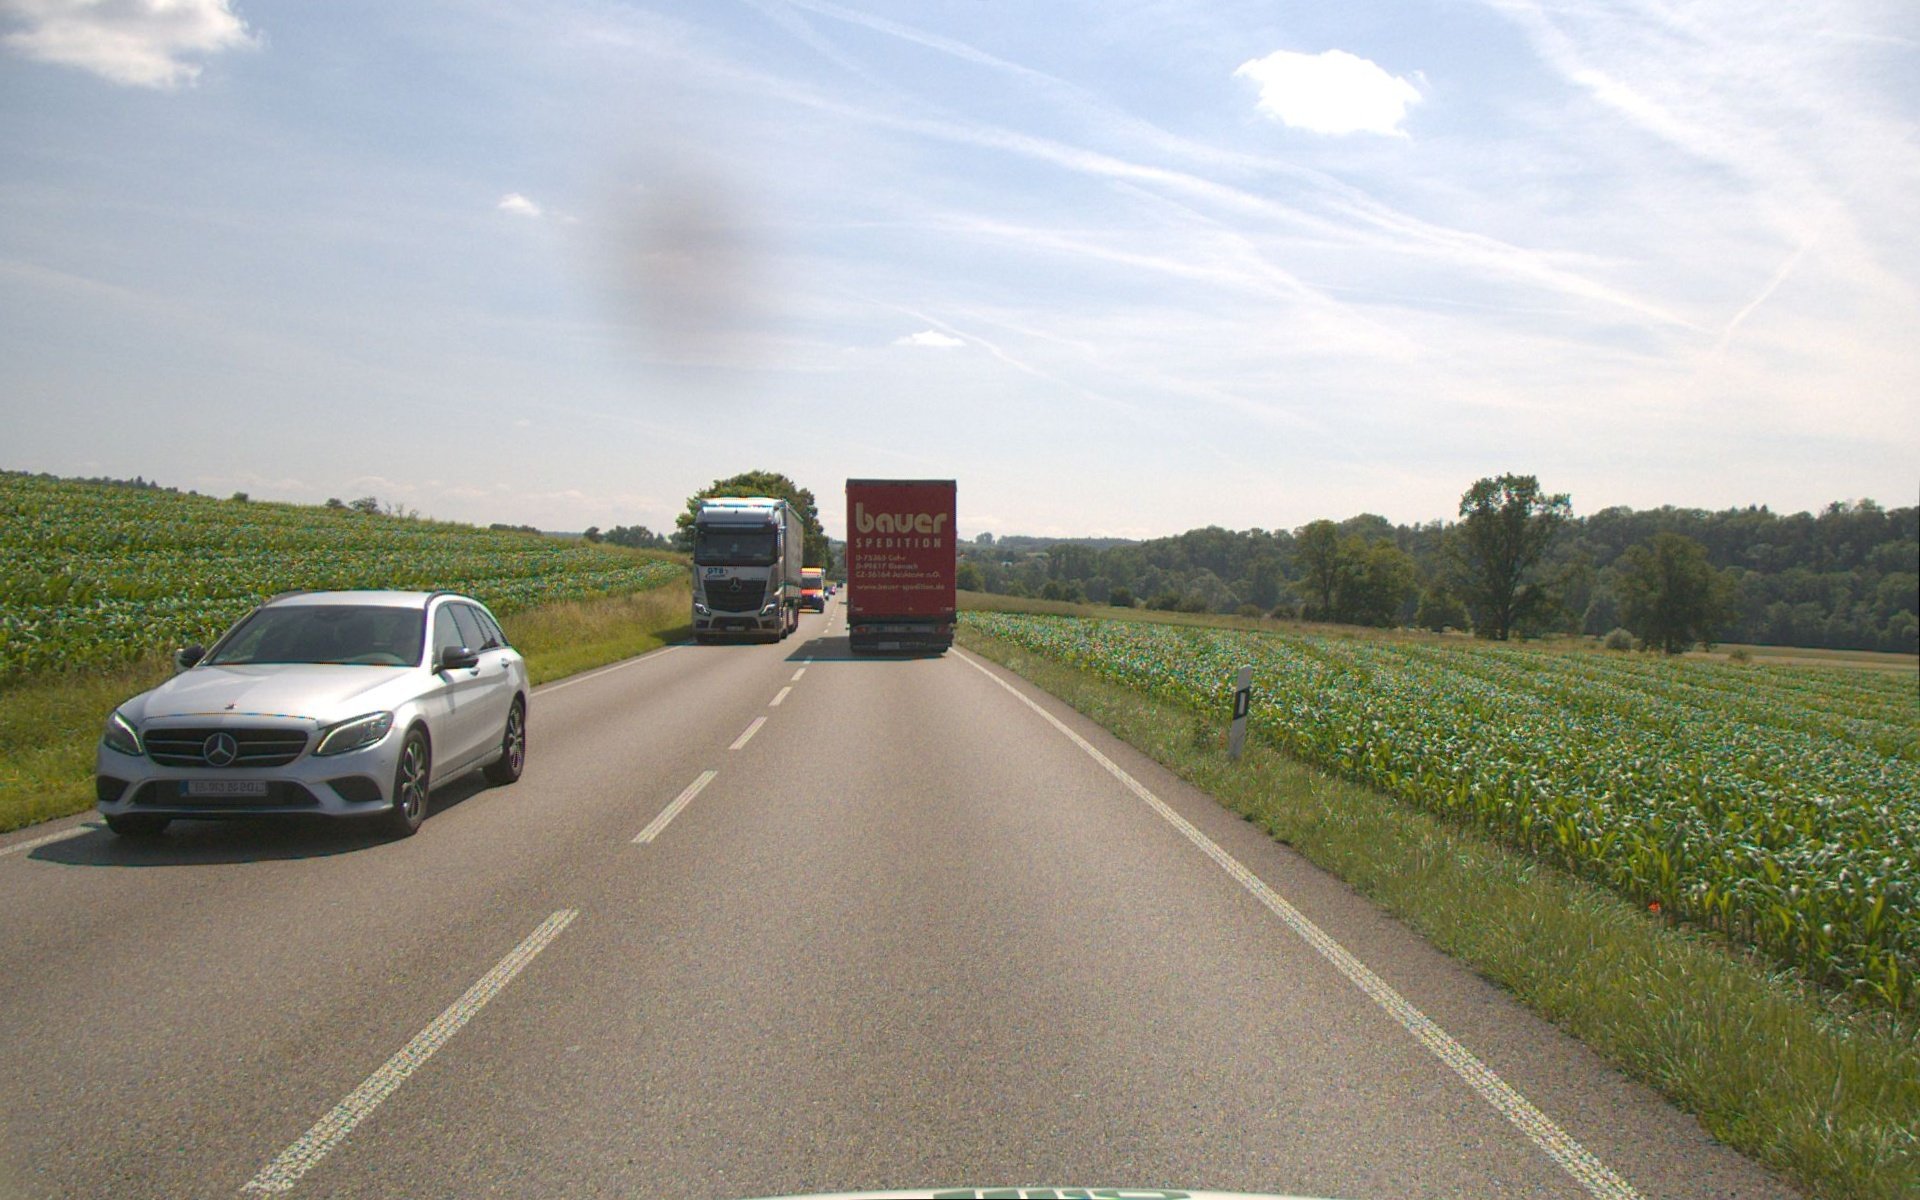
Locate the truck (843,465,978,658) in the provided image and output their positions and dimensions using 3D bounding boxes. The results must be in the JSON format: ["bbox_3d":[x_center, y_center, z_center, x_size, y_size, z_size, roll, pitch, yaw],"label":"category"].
[{"bbox_3d":[-1.286,-0.837,41.579,3.032,4.337,8.310,0,0,-2],"label":"truck"}]

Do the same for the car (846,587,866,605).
[{"bbox_3d":[-9.012,-0.339,143.342,1.549,1.527,3.876,1,0,-1],"label":"car"}]

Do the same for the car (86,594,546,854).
[{"bbox_3d":[-4.176,0.701,11.488,1.693,1.466,4.175,0,0,-2],"label":"car"}]

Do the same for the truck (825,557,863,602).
[{"bbox_3d":[-12.044,-2.104,172.575,3.567,4.367,11.978,1,-1,-3],"label":"truck"}]

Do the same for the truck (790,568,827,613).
[{"bbox_3d":[-9.343,-0.580,102.231,2.164,2.718,6.411,0,0,-4],"label":"truck"}]

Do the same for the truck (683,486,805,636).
[{"bbox_3d":[-6.659,-1.107,53.317,2.771,4.062,16.521,0,0,-4],"label":"truck"}]

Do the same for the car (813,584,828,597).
[{"bbox_3d":[-15.737,-1.100,187.040,1.640,1.482,4.347,1,1,-4],"label":"car"}]
